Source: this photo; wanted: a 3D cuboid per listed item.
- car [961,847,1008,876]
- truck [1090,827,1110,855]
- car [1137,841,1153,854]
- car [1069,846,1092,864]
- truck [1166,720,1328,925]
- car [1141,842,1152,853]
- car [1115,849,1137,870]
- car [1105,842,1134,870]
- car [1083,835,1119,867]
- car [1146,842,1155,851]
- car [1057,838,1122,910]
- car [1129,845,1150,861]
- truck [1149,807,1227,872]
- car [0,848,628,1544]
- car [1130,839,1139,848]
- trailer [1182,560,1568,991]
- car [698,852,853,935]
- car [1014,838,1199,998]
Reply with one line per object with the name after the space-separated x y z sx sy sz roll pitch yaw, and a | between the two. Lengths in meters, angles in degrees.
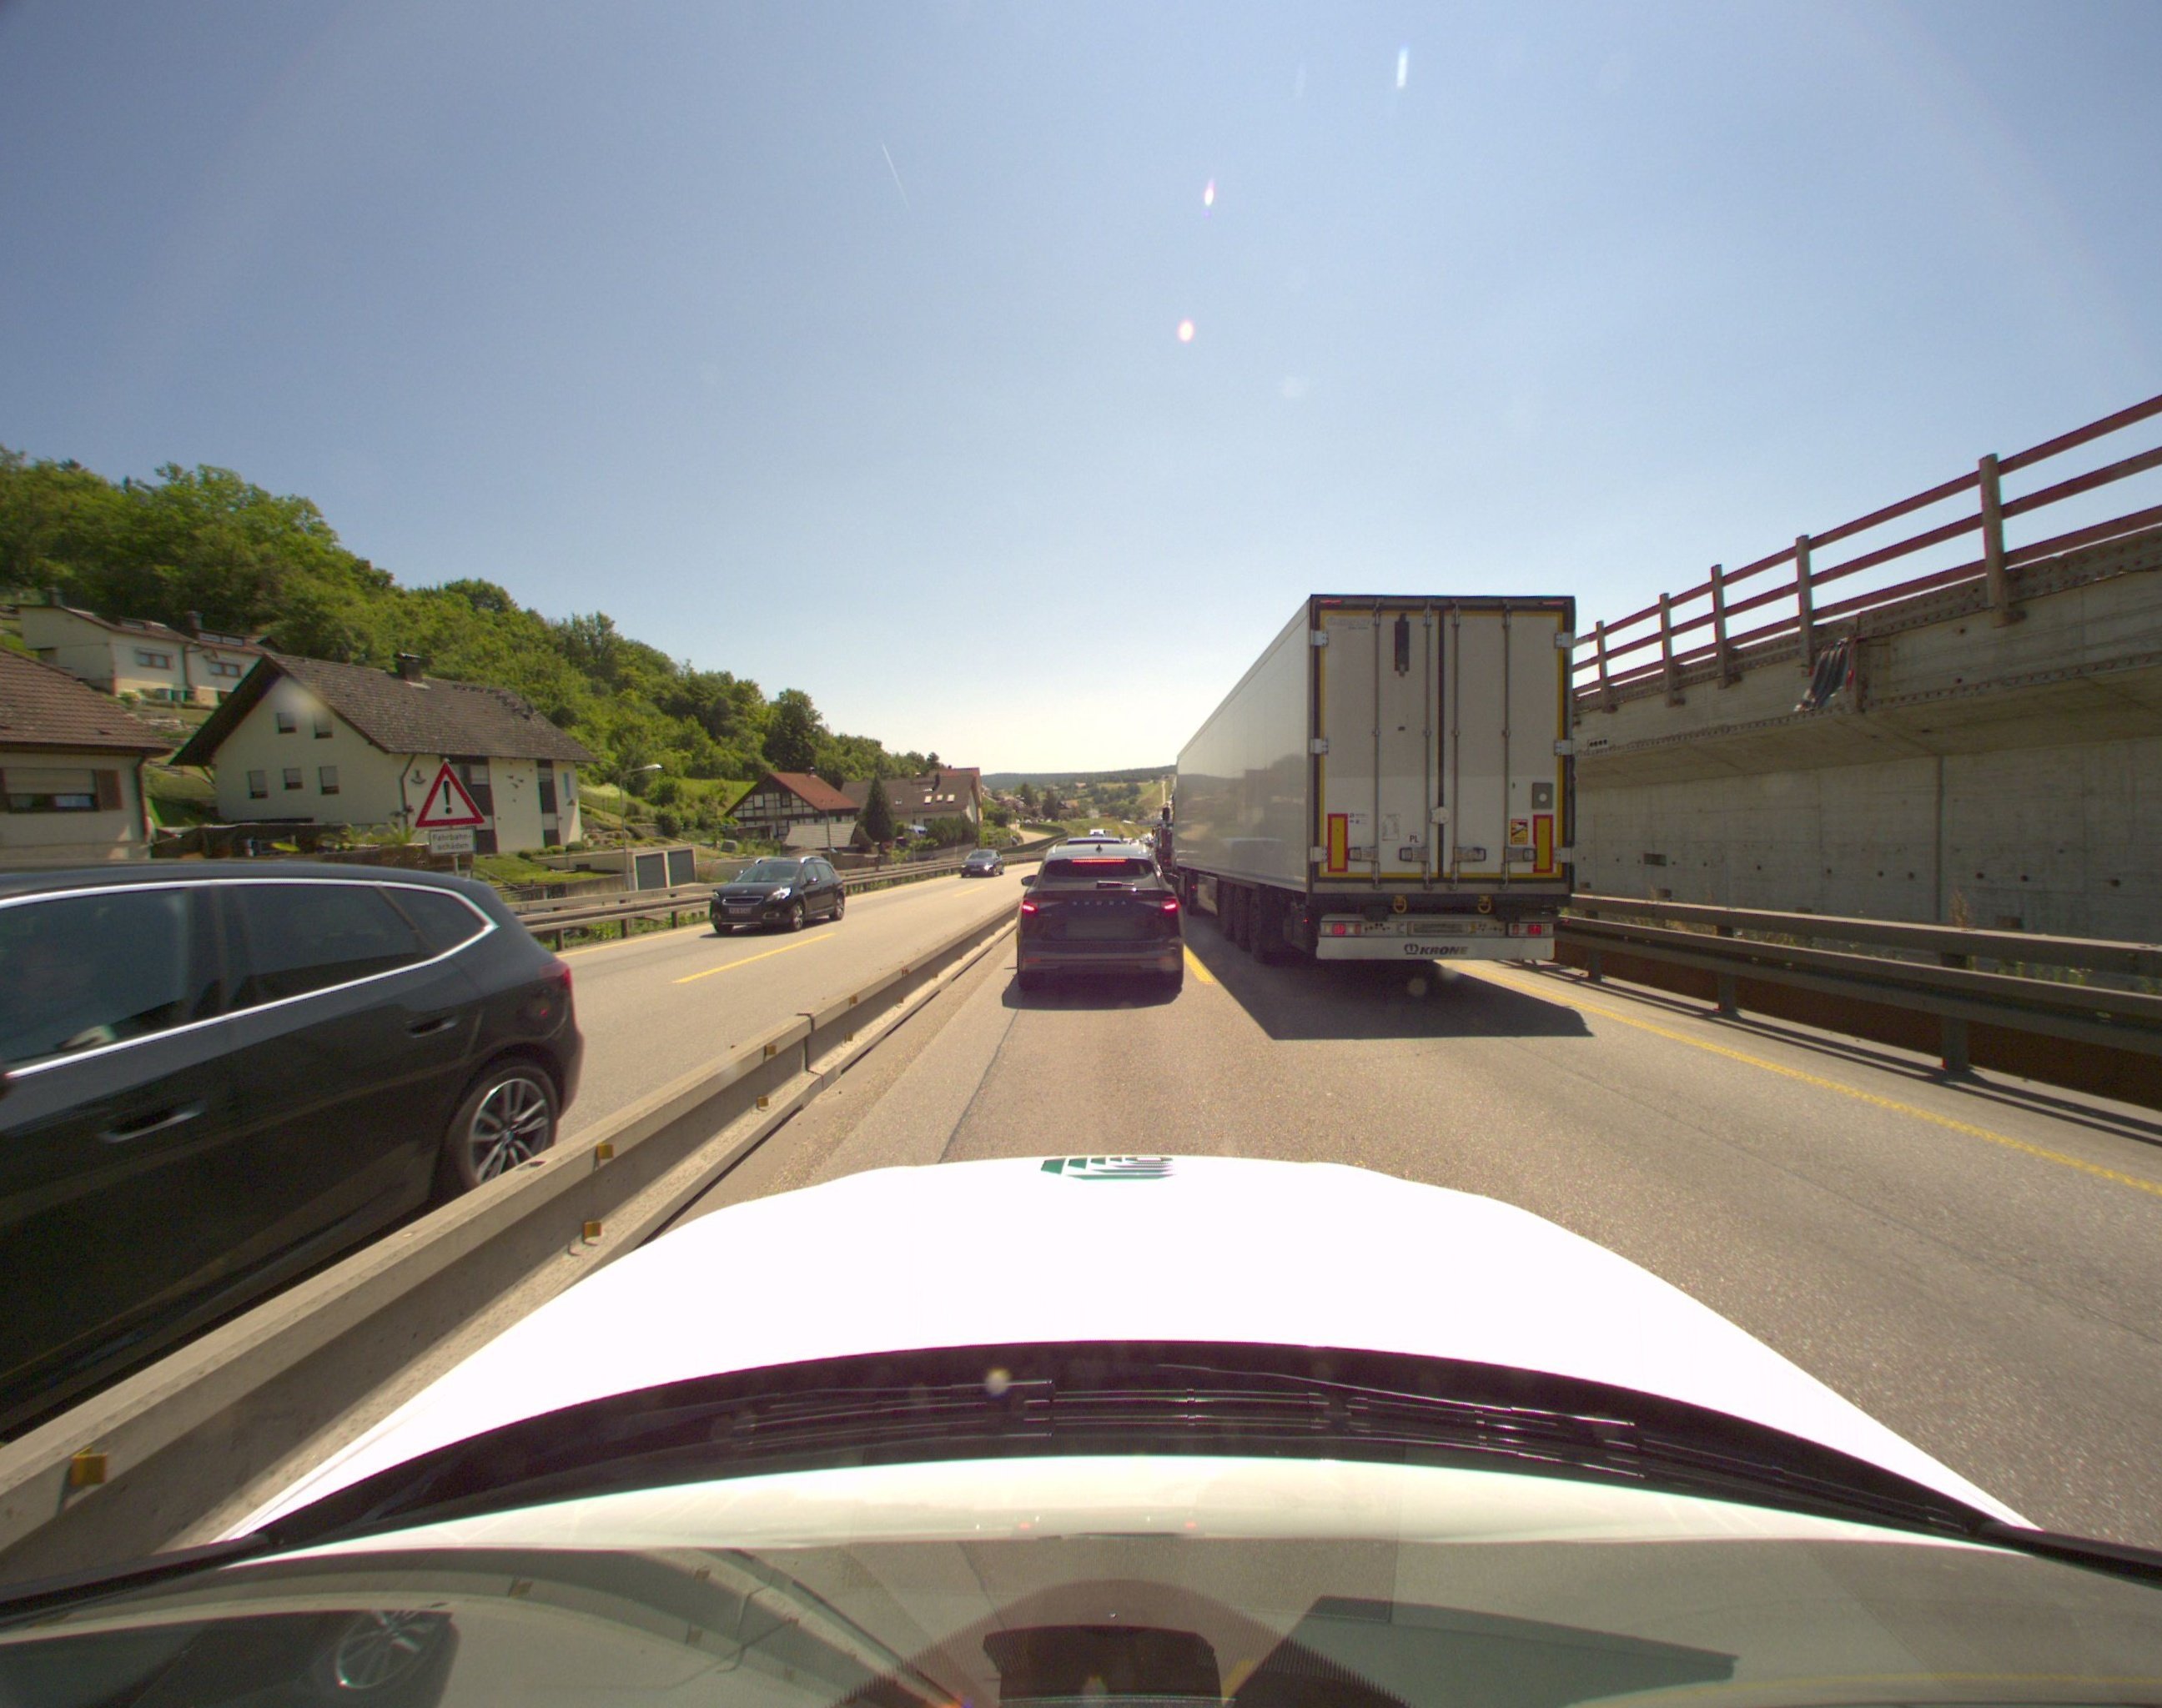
-5.219 0.412 44.474 1.834 1.418 4.688 -2 -1 2 | car
3.031 -2.014 129.141 2.739 4.283 4.964 0 0 5 | truck
8.172 -0.872 104.333 1.985 1.585 3.839 0 -1 3 | car
-0.012 0.046 66.349 1.711 1.408 4.003 -2 0 2 | car
3.684 -0.580 20.086 2.504 4.025 8.240 0 -1 1 | truck
10.509 -0.975 130.297 1.692 1.728 3.843 0 -1 6 | car
3.715 0.413 67.731 1.700 1.622 4.002 0 1 2 | car
2.365 0.094 50.366 1.700 1.622 4.002 0 1 2 | car
1.008 -0.184 43.068 1.702 1.622 3.997 0 1 -2 | car
14.277 -1.502 166.952 1.692 1.728 3.843 0 -1 6 | car
0.164 0.487 23.153 1.702 1.881 3.997 0 1 -2 | car
5.957 -0.106 83.434 1.985 1.585 3.839 0 -1 3 | car
5.822 -0.648 46.743 3.183 3.191 12.813 -1 -1 2 | truck
-3.374 0.782 2.215 1.813 1.586 4.160 1 -1 2 | car
10.966 -2.150 167.321 1.692 1.728 3.843 0 -1 6 | car
3.517 -0.701 13.562 2.522 4.127 11.551 0 -1 1 | trailer
-6.517 0.772 17.869 1.726 1.489 4.002 -1 2 2 | car
0.194 0.651 10.058 1.838 1.586 3.904 0 -1 -2 | car
